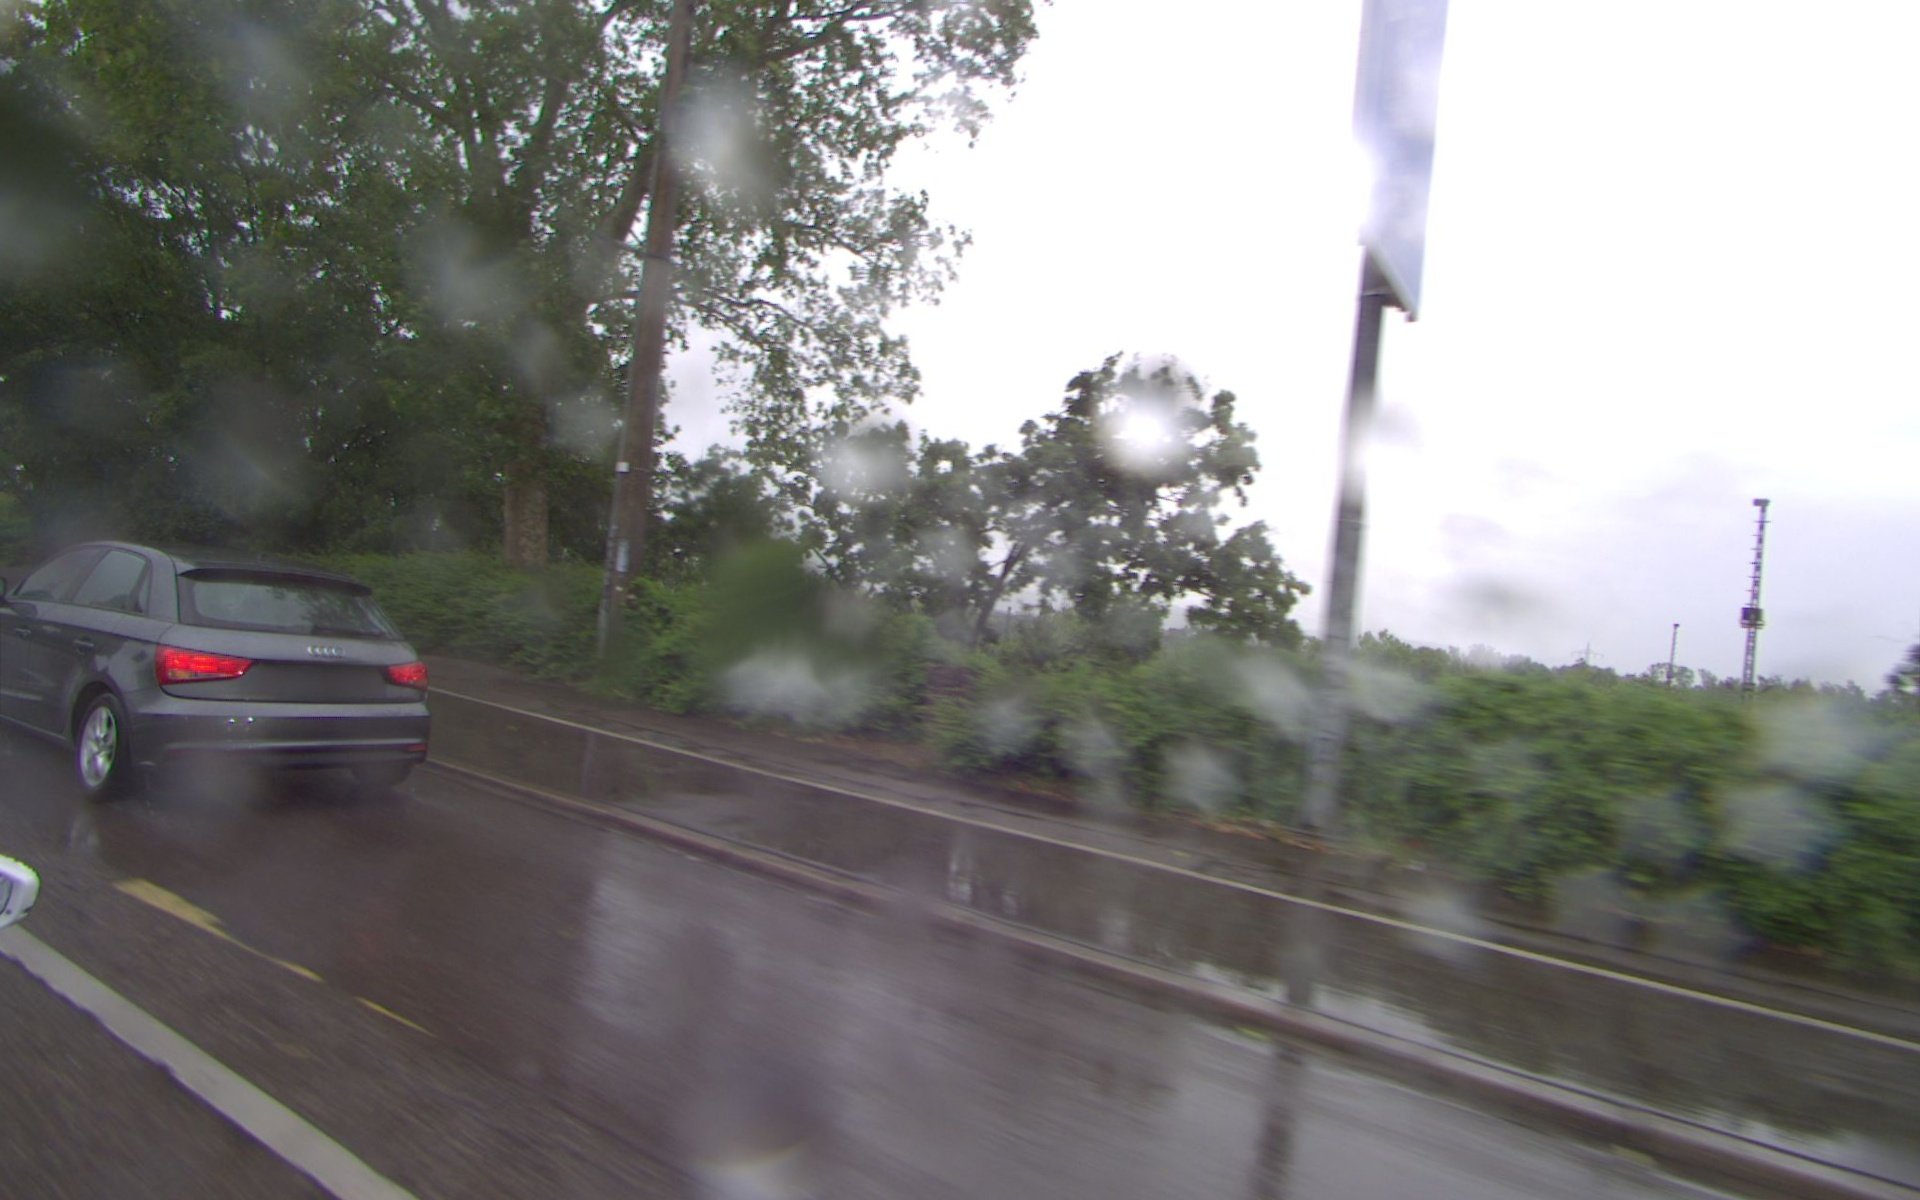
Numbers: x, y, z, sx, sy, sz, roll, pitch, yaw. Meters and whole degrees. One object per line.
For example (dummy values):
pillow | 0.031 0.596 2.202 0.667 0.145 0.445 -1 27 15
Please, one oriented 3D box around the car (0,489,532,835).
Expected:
car | -5.064 0.245 6.689 3.923 1.546 1.972 8 -1 30
